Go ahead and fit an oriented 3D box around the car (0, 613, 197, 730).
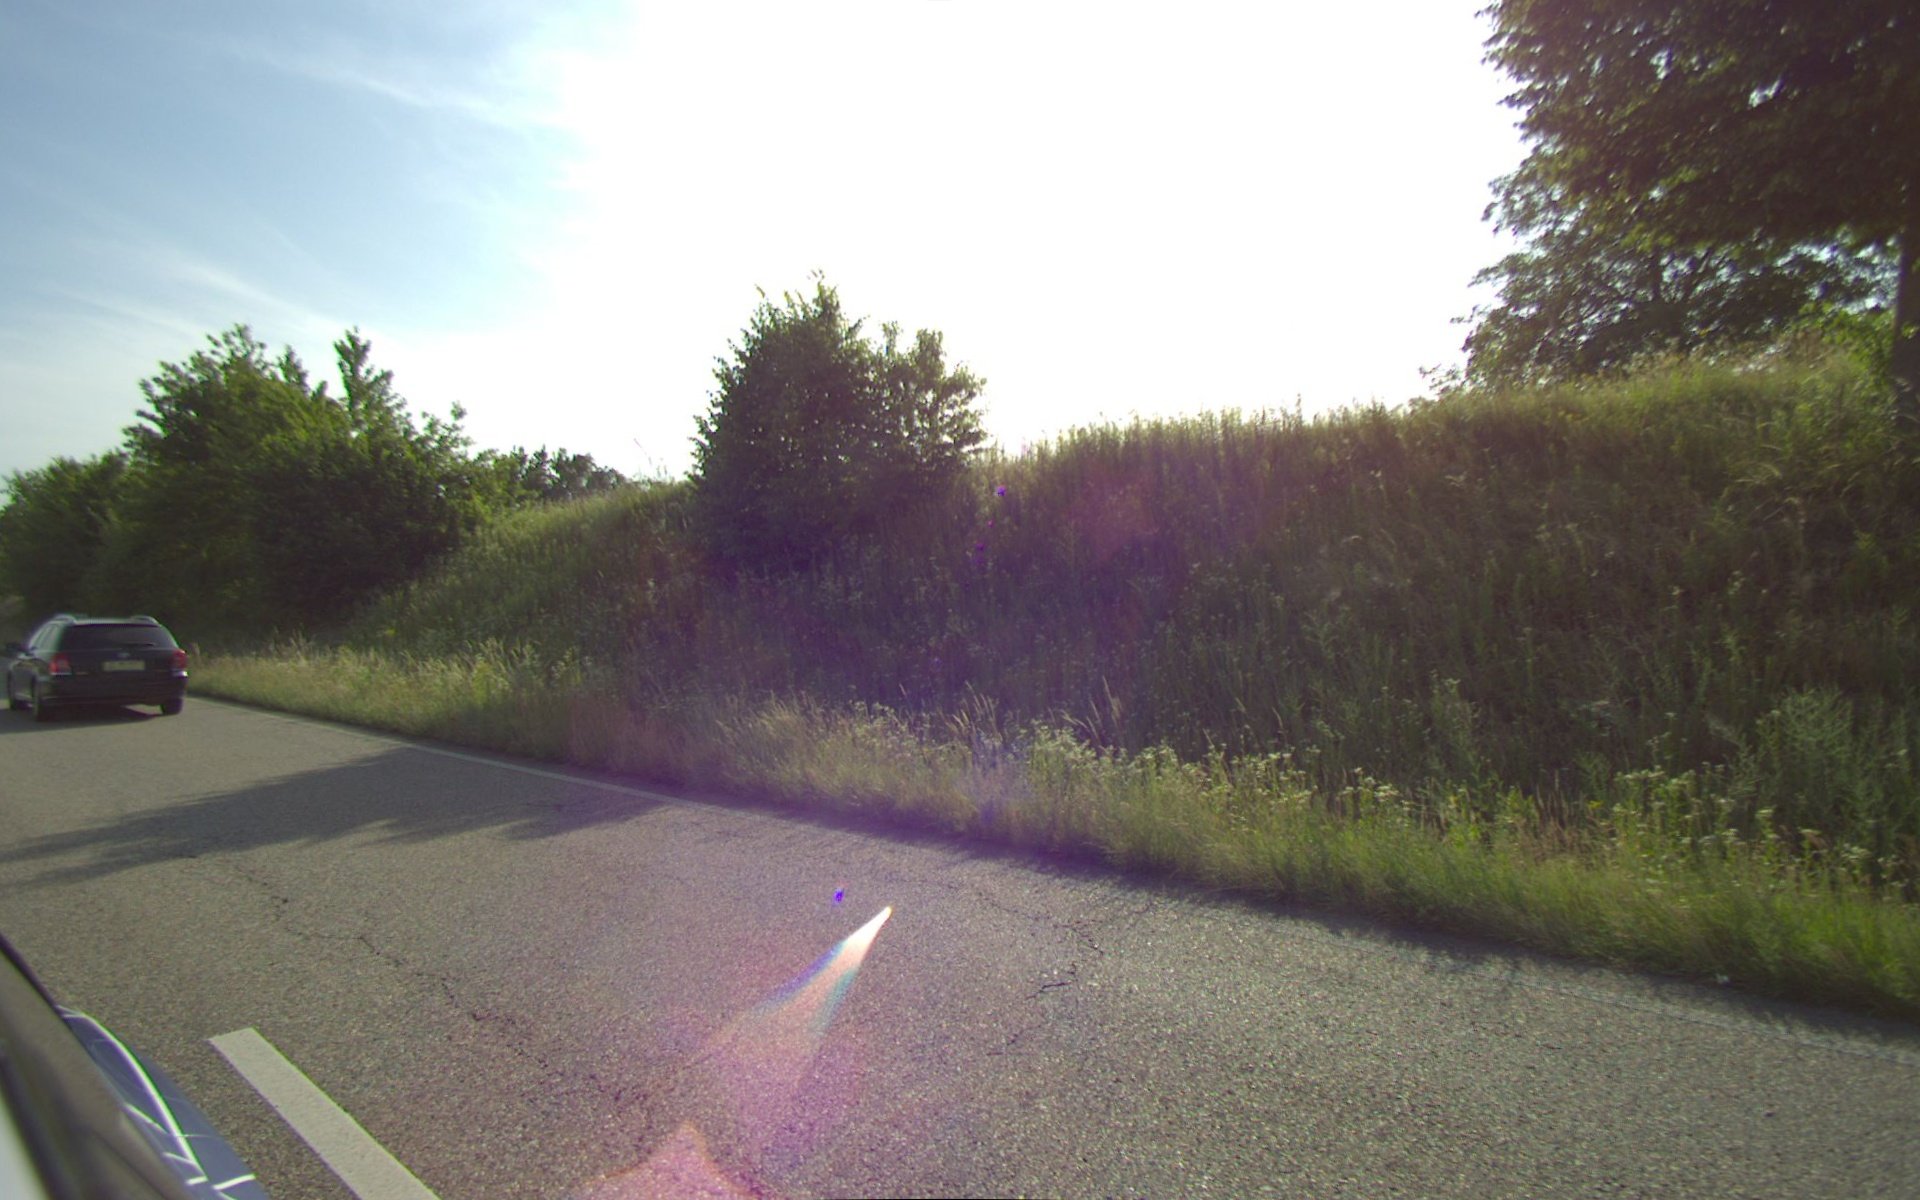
[{"bbox_3d":[-13.404,1.003,15.661,4.310,1.558,1.725,-1,-1,41],"label":"car"}]
